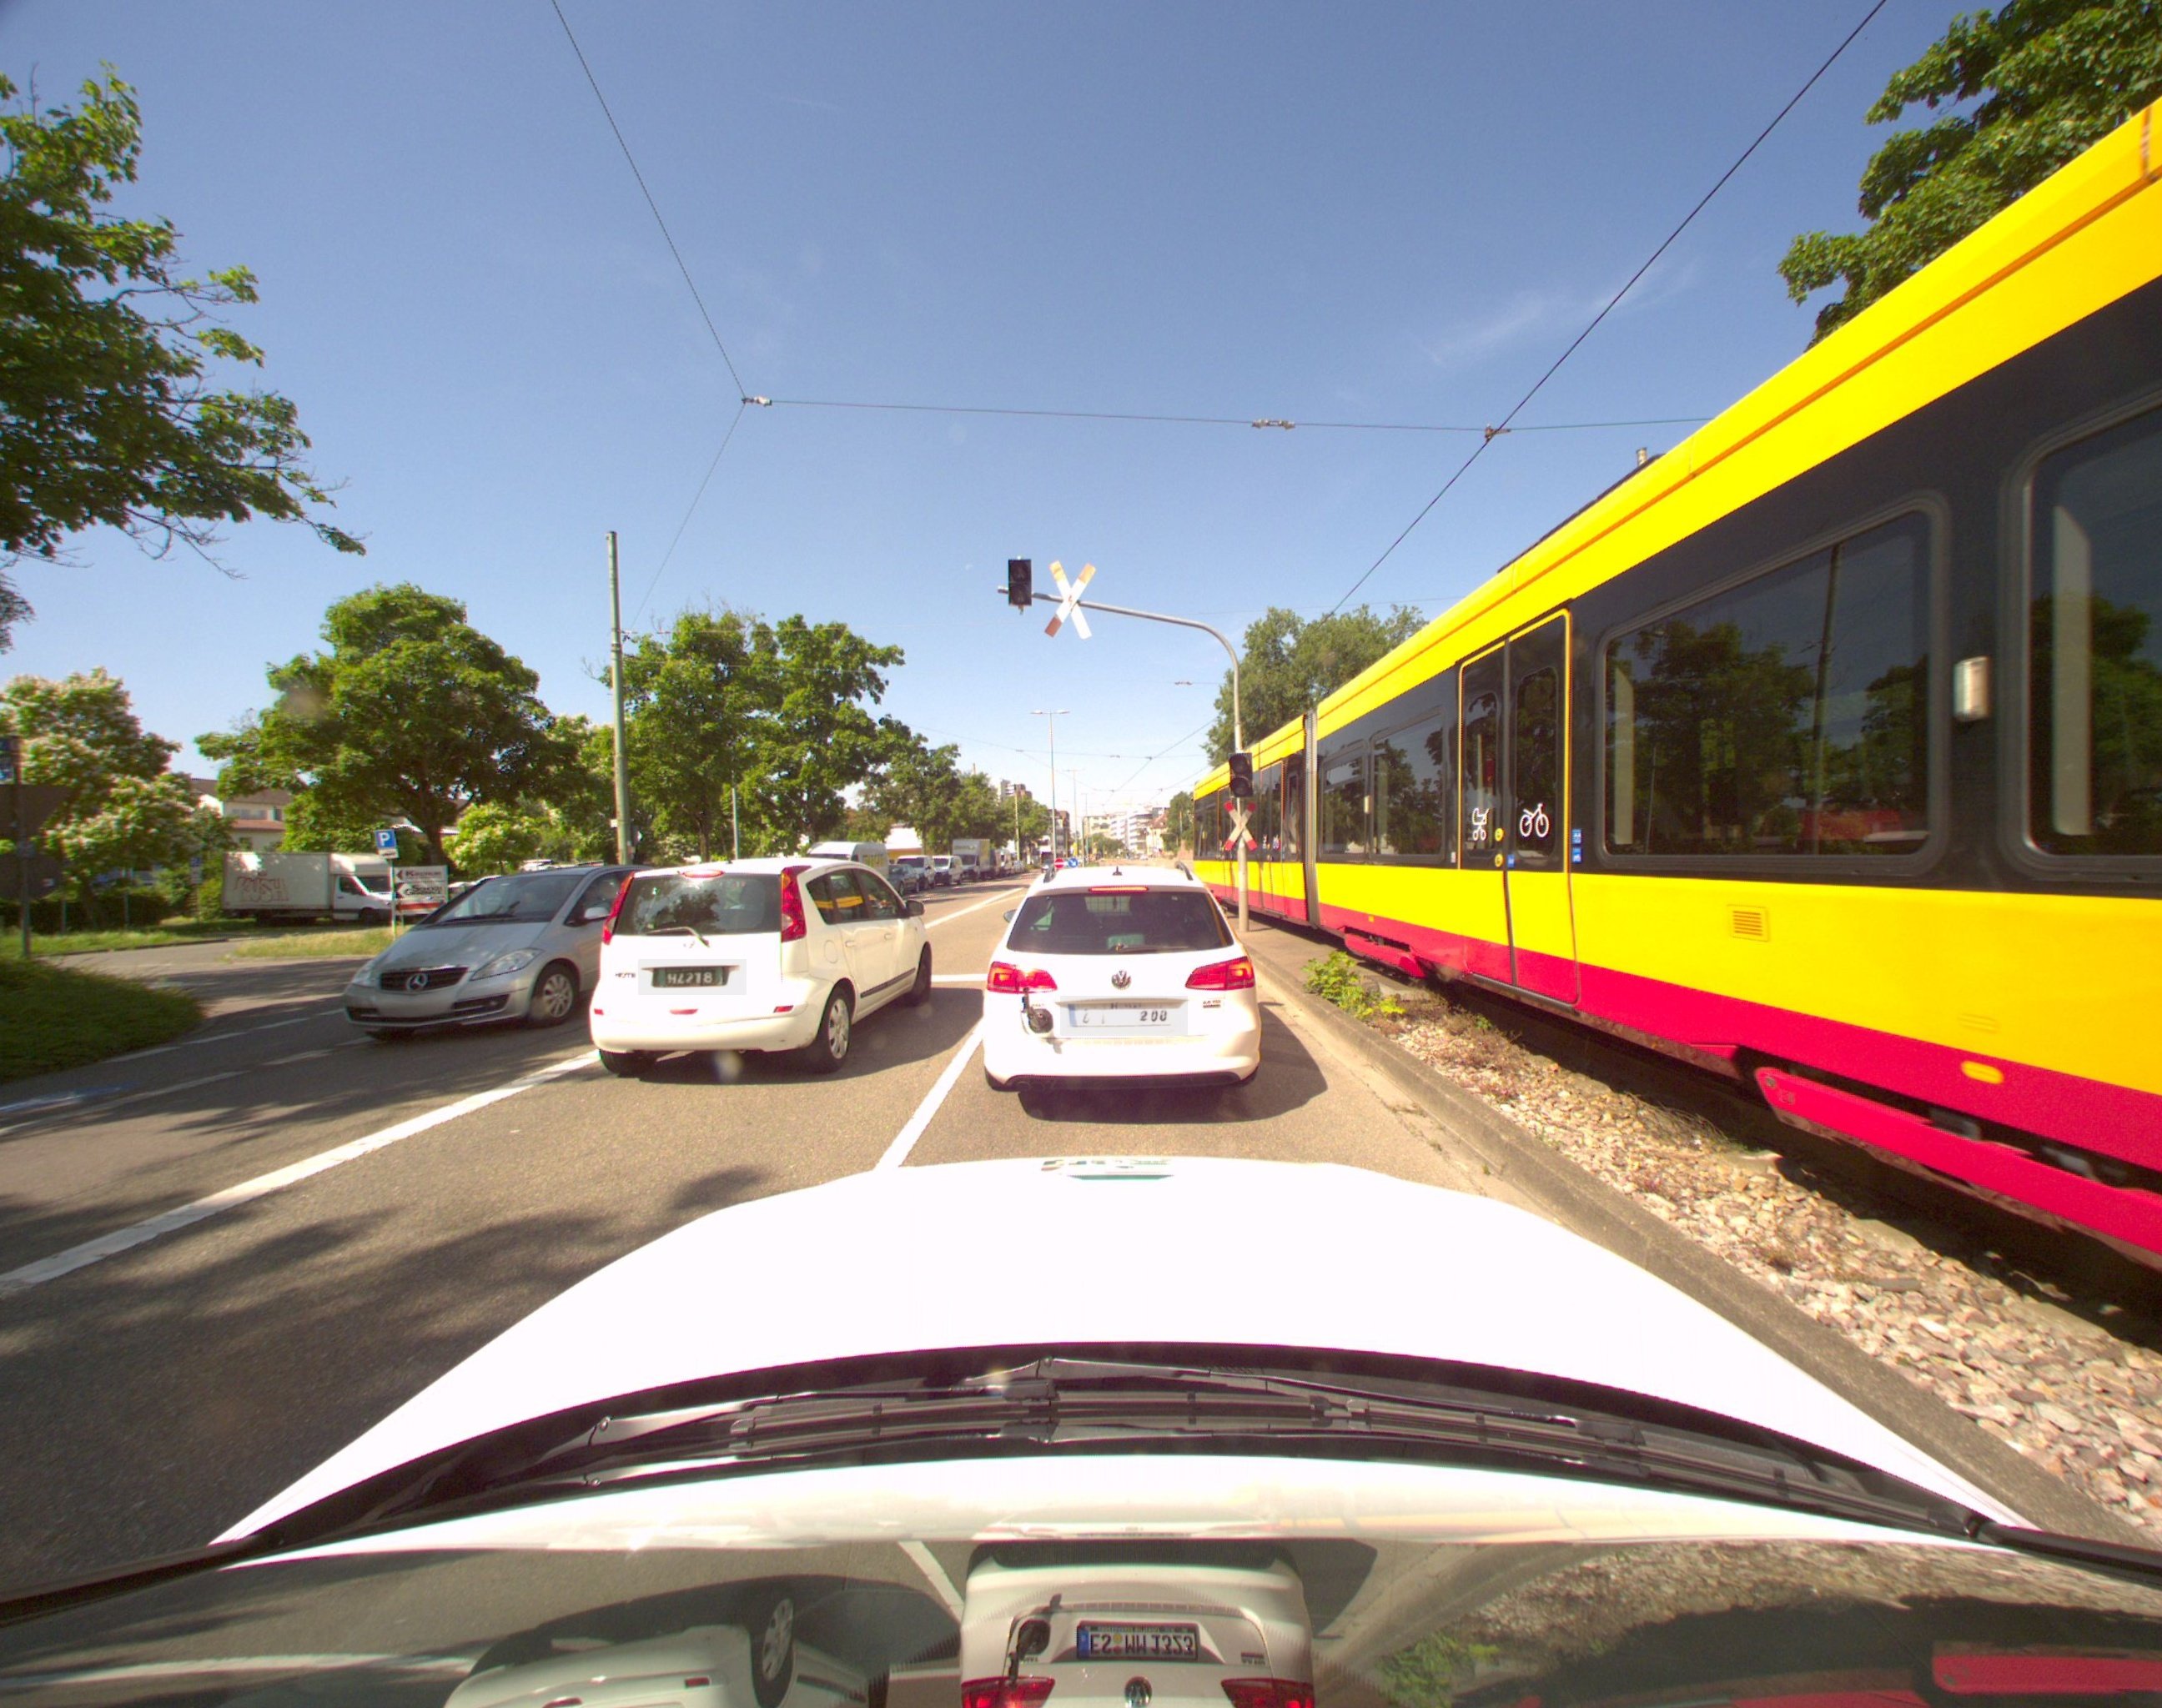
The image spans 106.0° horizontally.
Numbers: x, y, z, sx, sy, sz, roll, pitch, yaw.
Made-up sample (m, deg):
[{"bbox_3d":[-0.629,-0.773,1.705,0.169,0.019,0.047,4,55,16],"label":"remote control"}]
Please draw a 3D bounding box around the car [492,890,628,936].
[{"bbox_3d":[-19.862,2.232,31.166,3.977,1.415,1.729,-4,-1,-3],"label":"car"}]

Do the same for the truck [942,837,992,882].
[{"bbox_3d":[-8.391,0.379,60.683,2.411,3.150,7.001,0,0,3],"label":"truck"}]

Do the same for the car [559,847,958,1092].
[{"bbox_3d":[-2.436,0.746,7.532,1.655,1.547,4.550,-1,0,3],"label":"car"}]

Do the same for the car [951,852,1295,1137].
[{"bbox_3d":[0.285,0.746,6.314,1.756,1.430,4.002,-3,0,2],"label":"car"}]

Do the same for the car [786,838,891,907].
[{"bbox_3d":[-9.542,0.685,32.666,2.114,2.516,5.822,0,0,4],"label":"car"}]

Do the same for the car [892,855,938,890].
[{"bbox_3d":[-9.237,0.991,45.673,1.859,1.868,5.068,0,0,-3],"label":"car"}]

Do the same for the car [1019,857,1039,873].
[{"bbox_3d":[-6.308,1.358,98.930,1.856,1.868,5.415,0,0,2],"label":"car"}]

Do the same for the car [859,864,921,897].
[{"bbox_3d":[-9.090,1.222,39.130,1.856,1.415,4.281,0,0,1],"label":"car"}]

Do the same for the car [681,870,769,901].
[{"bbox_3d":[-19.492,1.720,44.730,3.977,1.415,1.729,-4,-1,-3],"label":"car"}]

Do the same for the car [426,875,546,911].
[{"bbox_3d":[-31.722,2.044,43.528,4.780,1.787,2.062,0,-1,-3],"label":"car"}]

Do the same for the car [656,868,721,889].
[{"bbox_3d":[-35.132,2.194,72.983,4.780,1.787,2.062,0,-1,-3],"label":"car"}]

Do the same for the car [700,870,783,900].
[{"bbox_3d":[-19.560,1.765,47.063,3.977,1.415,1.729,-4,-1,-3],"label":"car"}]

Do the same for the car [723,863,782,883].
[{"bbox_3d":[-31.401,1.817,77.908,4.780,1.787,2.062,0,-1,-3],"label":"car"}]

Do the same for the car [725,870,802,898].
[{"bbox_3d":[-19.412,1.819,49.880,3.977,1.415,1.729,-4,-1,-3],"label":"car"}]

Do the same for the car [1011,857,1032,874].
[{"bbox_3d":[-6.695,1.251,92.018,1.856,1.868,5.415,0,0,2],"label":"car"}]

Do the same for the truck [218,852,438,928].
[{"bbox_3d":[-32.384,1.488,35.215,6.978,3.110,2.677,0,0,0],"label":"truck"}]

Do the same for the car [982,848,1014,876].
[{"bbox_3d":[-7.703,0.678,76.112,2.114,2.516,5.737,0,0,3],"label":"car"}]

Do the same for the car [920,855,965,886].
[{"bbox_3d":[-8.818,1.012,52.261,1.856,1.868,5.415,0,0,2],"label":"car"}]

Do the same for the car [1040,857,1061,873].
[{"bbox_3d":[-3.055,1.078,82.872,1.698,1.473,4.593,-3,0,3],"label":"car"}]

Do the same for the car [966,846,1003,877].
[{"bbox_3d":[-8.084,0.618,68.680,2.114,2.516,5.737,0,0,3],"label":"car"}]

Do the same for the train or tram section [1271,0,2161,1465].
[{"bbox_3d":[4.100,-0.504,5.743,2.860,3.855,12.396,-3,0,2],"label":"train or tram section"}]

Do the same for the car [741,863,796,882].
[{"bbox_3d":[-31.701,1.859,82.786,4.780,1.787,2.062,0,-1,-3],"label":"car"}]

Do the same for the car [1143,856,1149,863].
[{"bbox_3d":[17.749,1.453,222.971,1.602,1.863,3.732,0,-1,2],"label":"car"}]

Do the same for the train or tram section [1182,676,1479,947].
[{"bbox_3d":[4.310,-0.629,17.183,2.861,3.855,10.536,-3,0,0],"label":"train or tram section"}]

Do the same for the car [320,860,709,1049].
[{"bbox_3d":[-5.895,0.911,9.080,1.670,1.553,3.580,-4,0,1],"label":"car"}]

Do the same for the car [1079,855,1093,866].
[{"bbox_3d":[0.699,0.879,113.001,1.698,1.473,4.593,-3,0,3],"label":"car"}]
